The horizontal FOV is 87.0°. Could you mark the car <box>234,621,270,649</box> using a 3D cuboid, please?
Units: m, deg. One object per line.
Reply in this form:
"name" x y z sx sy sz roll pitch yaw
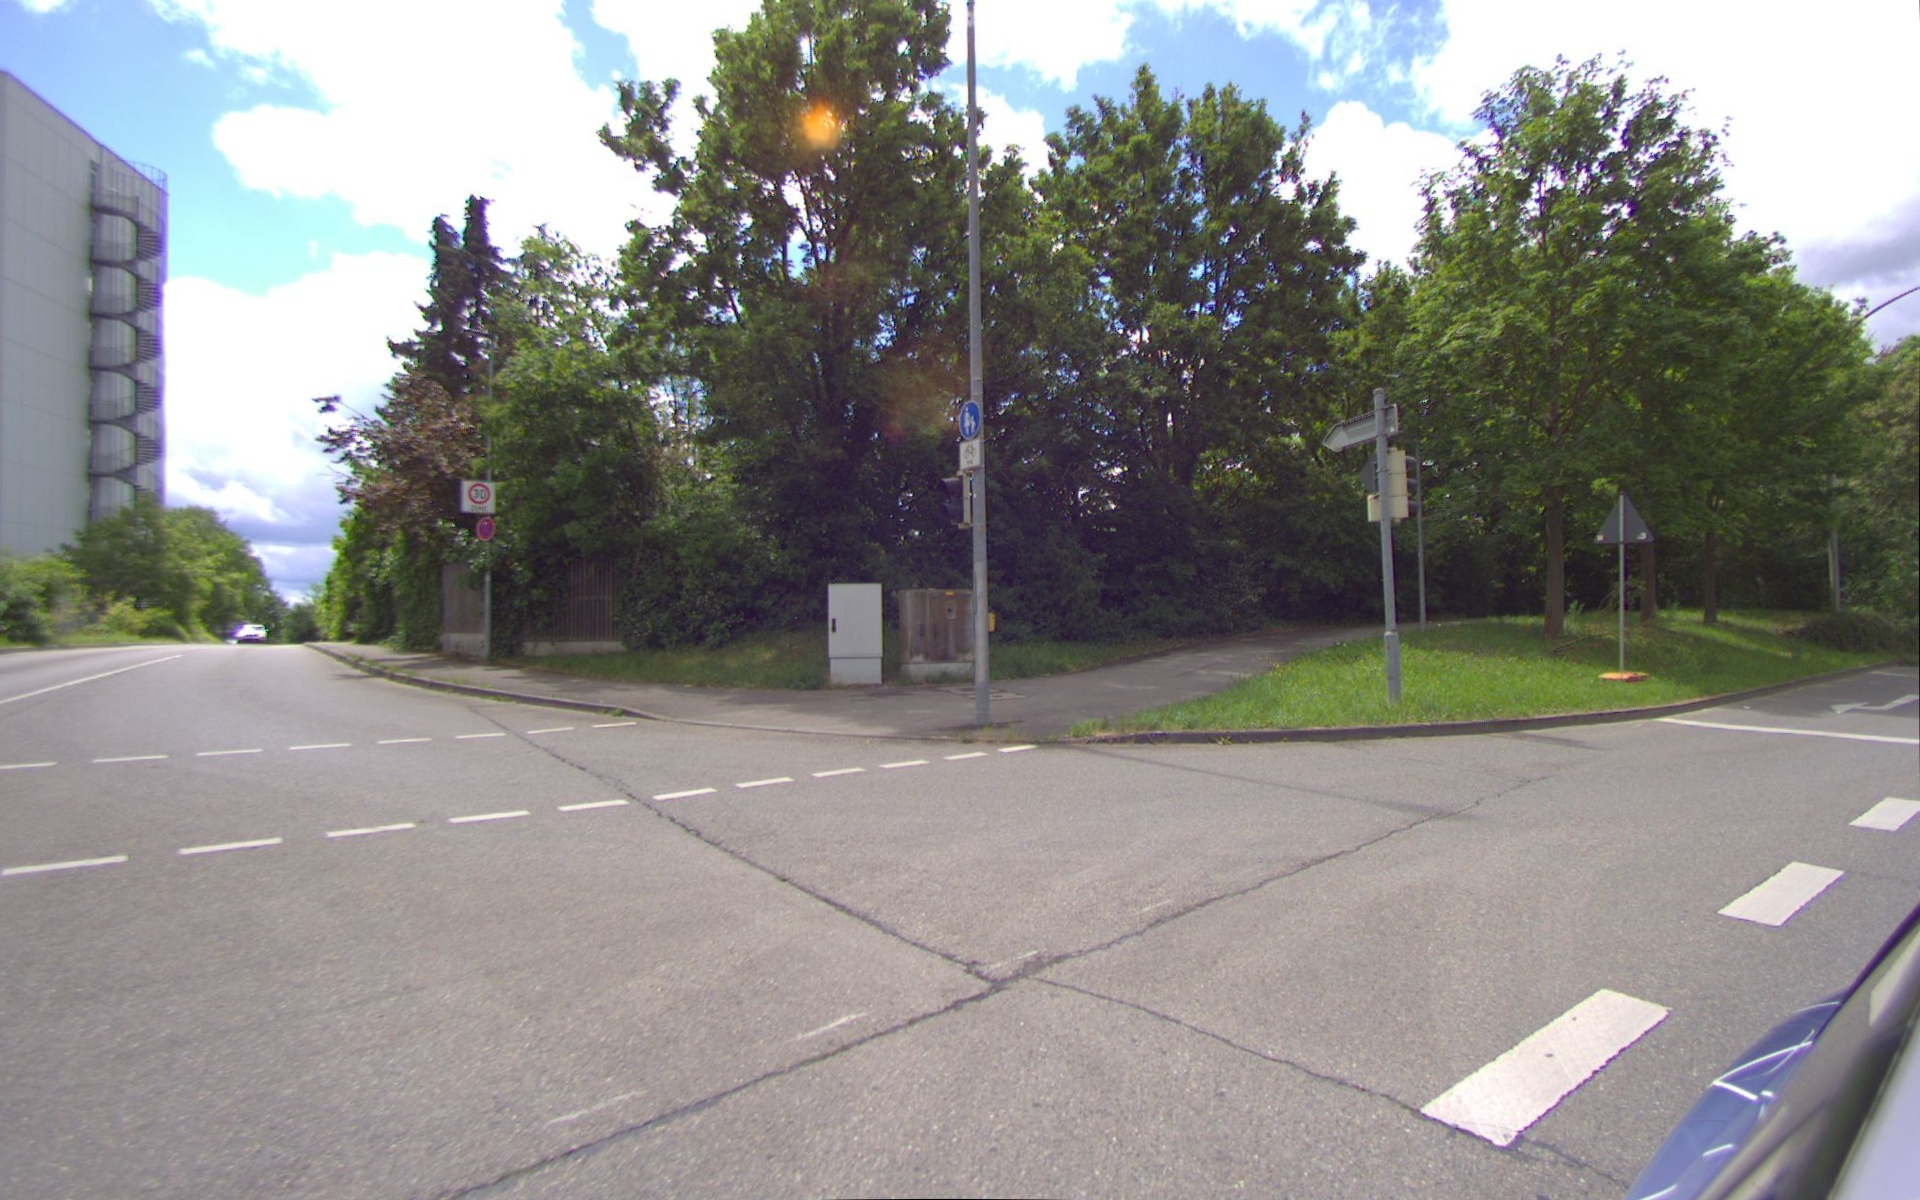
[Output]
"car" -54.549 2.690 78.003 1.960 2.039 4.002 -1 -1 -31
